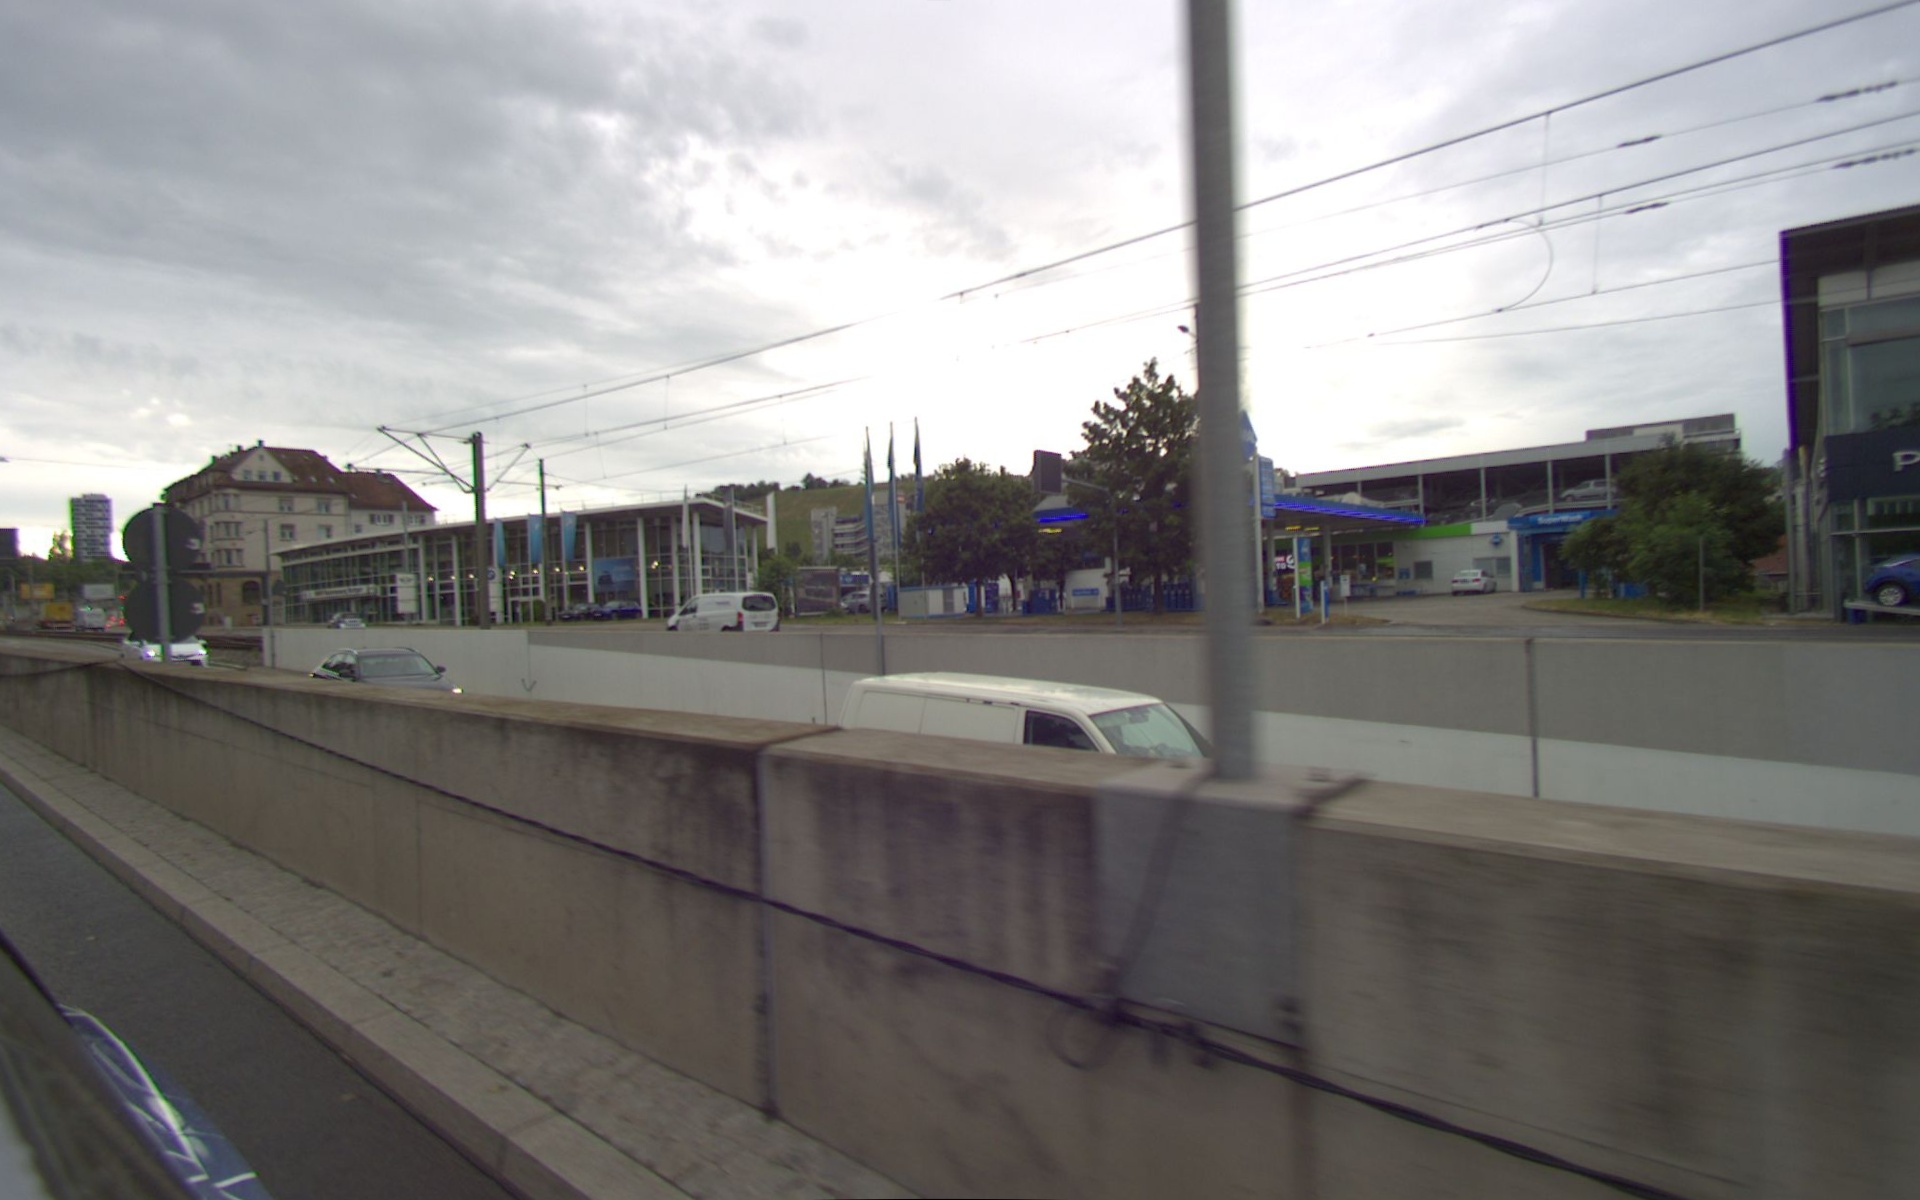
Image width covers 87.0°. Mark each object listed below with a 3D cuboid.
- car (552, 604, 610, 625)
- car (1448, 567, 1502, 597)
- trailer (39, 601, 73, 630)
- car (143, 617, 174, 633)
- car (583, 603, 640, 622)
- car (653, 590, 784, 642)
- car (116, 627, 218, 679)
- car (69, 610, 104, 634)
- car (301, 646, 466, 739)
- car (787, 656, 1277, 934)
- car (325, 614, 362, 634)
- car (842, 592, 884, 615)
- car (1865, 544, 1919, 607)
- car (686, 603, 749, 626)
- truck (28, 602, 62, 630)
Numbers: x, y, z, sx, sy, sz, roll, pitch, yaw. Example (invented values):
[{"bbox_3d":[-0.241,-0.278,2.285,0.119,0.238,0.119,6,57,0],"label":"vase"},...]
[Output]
[{"bbox_3d":[-27.020,1.032,72.225,1.690,1.244,3.973,-4,0,20],"label":"car"},{"bbox_3d":[30.808,-1.095,60.548,1.857,1.652,3.944,-2,0,43],"label":"car"},{"bbox_3d":[-135.736,2.352,151.877,9.077,4.082,2.656,-1,0,41],"label":"trailer"},{"bbox_3d":[-83.345,2.580,105.207,4.337,1.527,1.723,-1,0,41],"label":"car"},{"bbox_3d":[-24.464,0.858,71.167,1.748,1.244,3.973,-1,1,20],"label":"car"},{"bbox_3d":[-8.750,0.588,36.449,5.031,1.708,1.980,-2,0,40],"label":"car"},{"bbox_3d":[-26.894,1.735,34.279,4.317,1.585,1.956,-2,-1,41],"label":"car"},{"bbox_3d":[-99.292,2.548,115.034,6.161,2.618,2.030,-1,0,41],"label":"car"},{"bbox_3d":[-11.618,1.768,20.298,3.894,1.585,1.686,-2,-1,41],"label":"car"},{"bbox_3d":[0.510,1.636,10.147,4.716,1.973,1.889,-2,0,42],"label":"car"},{"bbox_3d":[-43.147,1.677,70.800,2.798,1.309,1.368,-2,1,39],"label":"car"},{"bbox_3d":[-6.973,0.264,72.724,2.798,1.584,1.368,-2,0,39],"label":"car"},{"bbox_3d":[26.864,-0.534,26.780,1.740,1.620,4.074,-2,7,-42],"label":"car"},{"bbox_3d":[-15.221,0.901,63.653,1.717,1.284,3.476,-1,1,45],"label":"car"},{"bbox_3d":[-143.011,2.520,158.109,10.136,4.082,2.655,-1,0,41],"label":"truck"}]
